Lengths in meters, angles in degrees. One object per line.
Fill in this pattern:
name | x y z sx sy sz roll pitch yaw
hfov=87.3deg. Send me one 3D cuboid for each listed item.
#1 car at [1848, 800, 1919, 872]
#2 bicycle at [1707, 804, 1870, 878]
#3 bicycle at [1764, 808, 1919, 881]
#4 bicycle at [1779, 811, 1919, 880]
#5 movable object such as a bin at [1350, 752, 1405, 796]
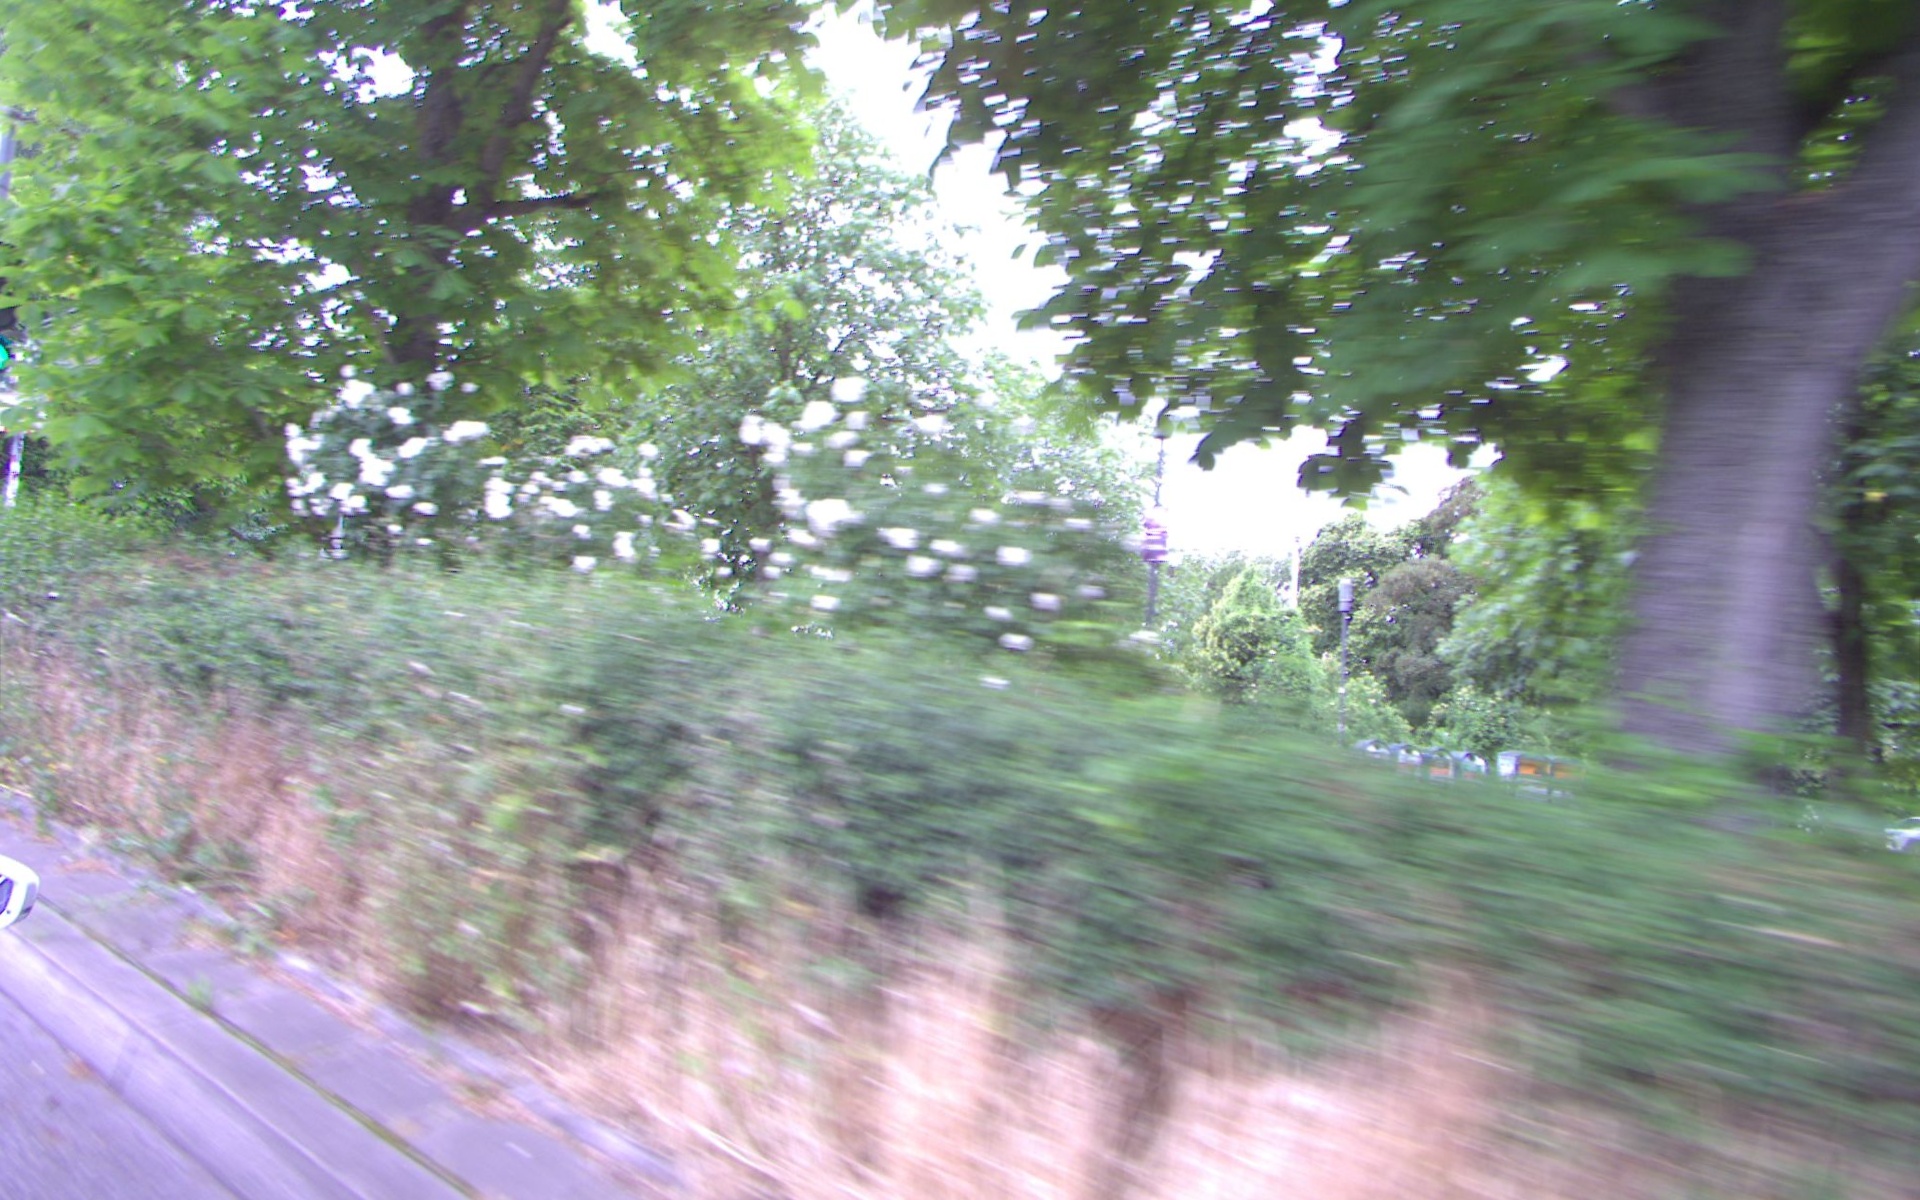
car | 31.450 7.727 31.871 4.626 1.923 2.005 7 -4 3
bicycle | 20.086 5.812 24.465 0.919 1.157 2.920 11 -5 -43
bicycle | 21.471 5.892 24.399 0.919 1.157 2.920 11 -5 -43
bicycle | 22.303 6.087 24.972 0.919 1.157 2.920 11 -5 -43
movable object such as a bin | 13.391 5.586 32.274 1.296 1.178 1.059 4 -5 39
